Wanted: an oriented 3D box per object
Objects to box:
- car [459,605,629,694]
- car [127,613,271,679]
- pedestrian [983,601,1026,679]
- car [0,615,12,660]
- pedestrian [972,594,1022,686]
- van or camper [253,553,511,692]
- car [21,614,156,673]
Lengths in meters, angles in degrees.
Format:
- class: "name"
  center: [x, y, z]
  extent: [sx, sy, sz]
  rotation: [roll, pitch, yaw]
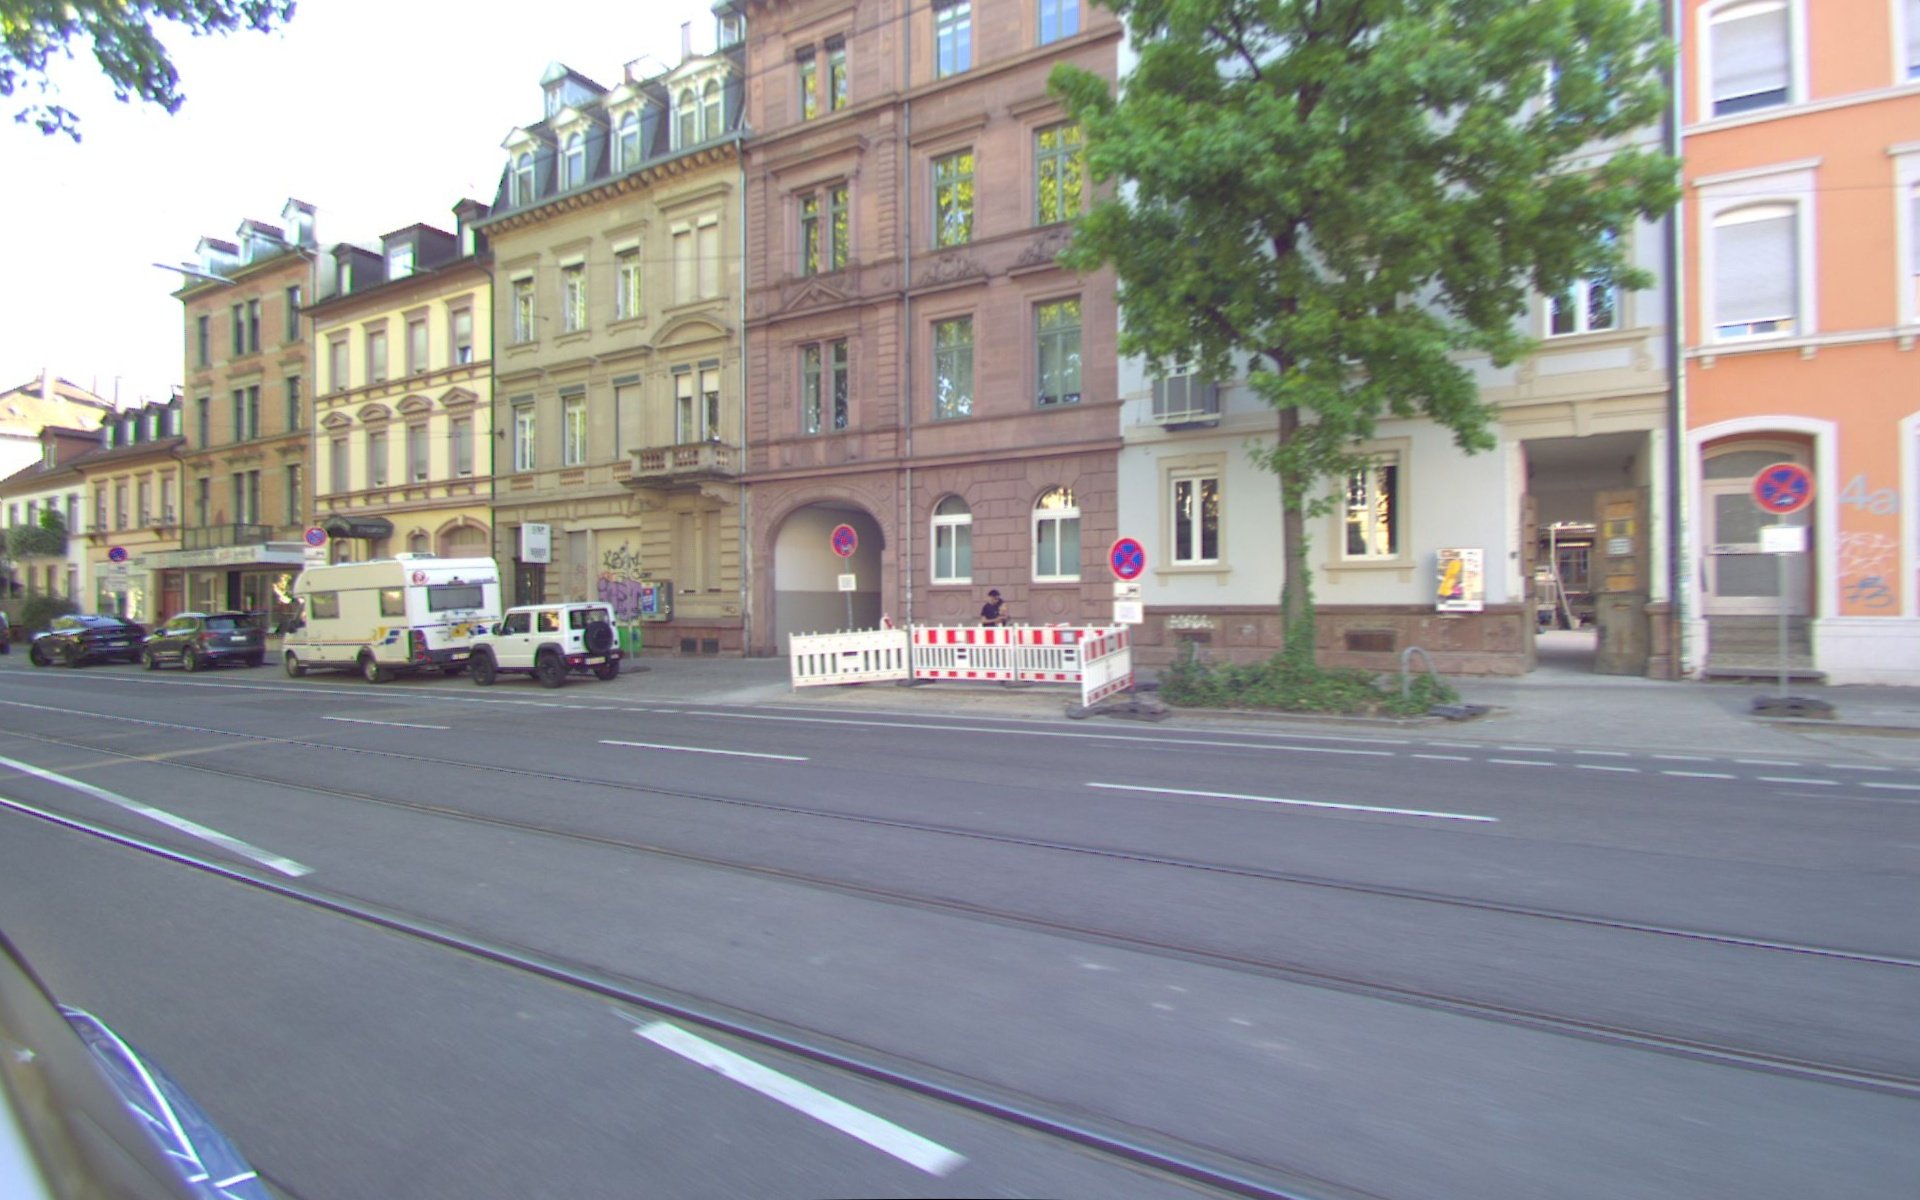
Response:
- class: "car"
  center: [-8.944, 1.018, 21.742]
  extent: [3.356, 1.718, 1.620]
  rotation: [-1, 2, 29]
- class: "car"
  center: [-22.464, 1.322, 29.828]
  extent: [4.427, 1.718, 1.798]
  rotation: [-1, 2, 31]
- class: "pedestrian"
  center: [0.862, 0.774, 19.701]
  extent: [0.605, 1.472, 0.572]
  rotation: [-1, 1, 31]
- class: "car"
  center: [-39.389, 1.535, 40.137]
  extent: [3.614, 1.759, 1.711]
  rotation: [-1, 2, 33]
- class: "pedestrian"
  center: [0.685, 0.726, 18.783]
  extent: [0.686, 1.666, 0.563]
  rotation: [-1, 1, 35]
- class: "van or camper"
  center: [-14.327, 0.490, 24.875]
  extent: [7.229, 2.969, 2.401]
  rotation: [-1, 2, 33]
- class: "car"
  center: [-29.027, 1.425, 33.680]
  extent: [4.733, 1.715, 1.980]
  rotation: [-1, 2, 31]
